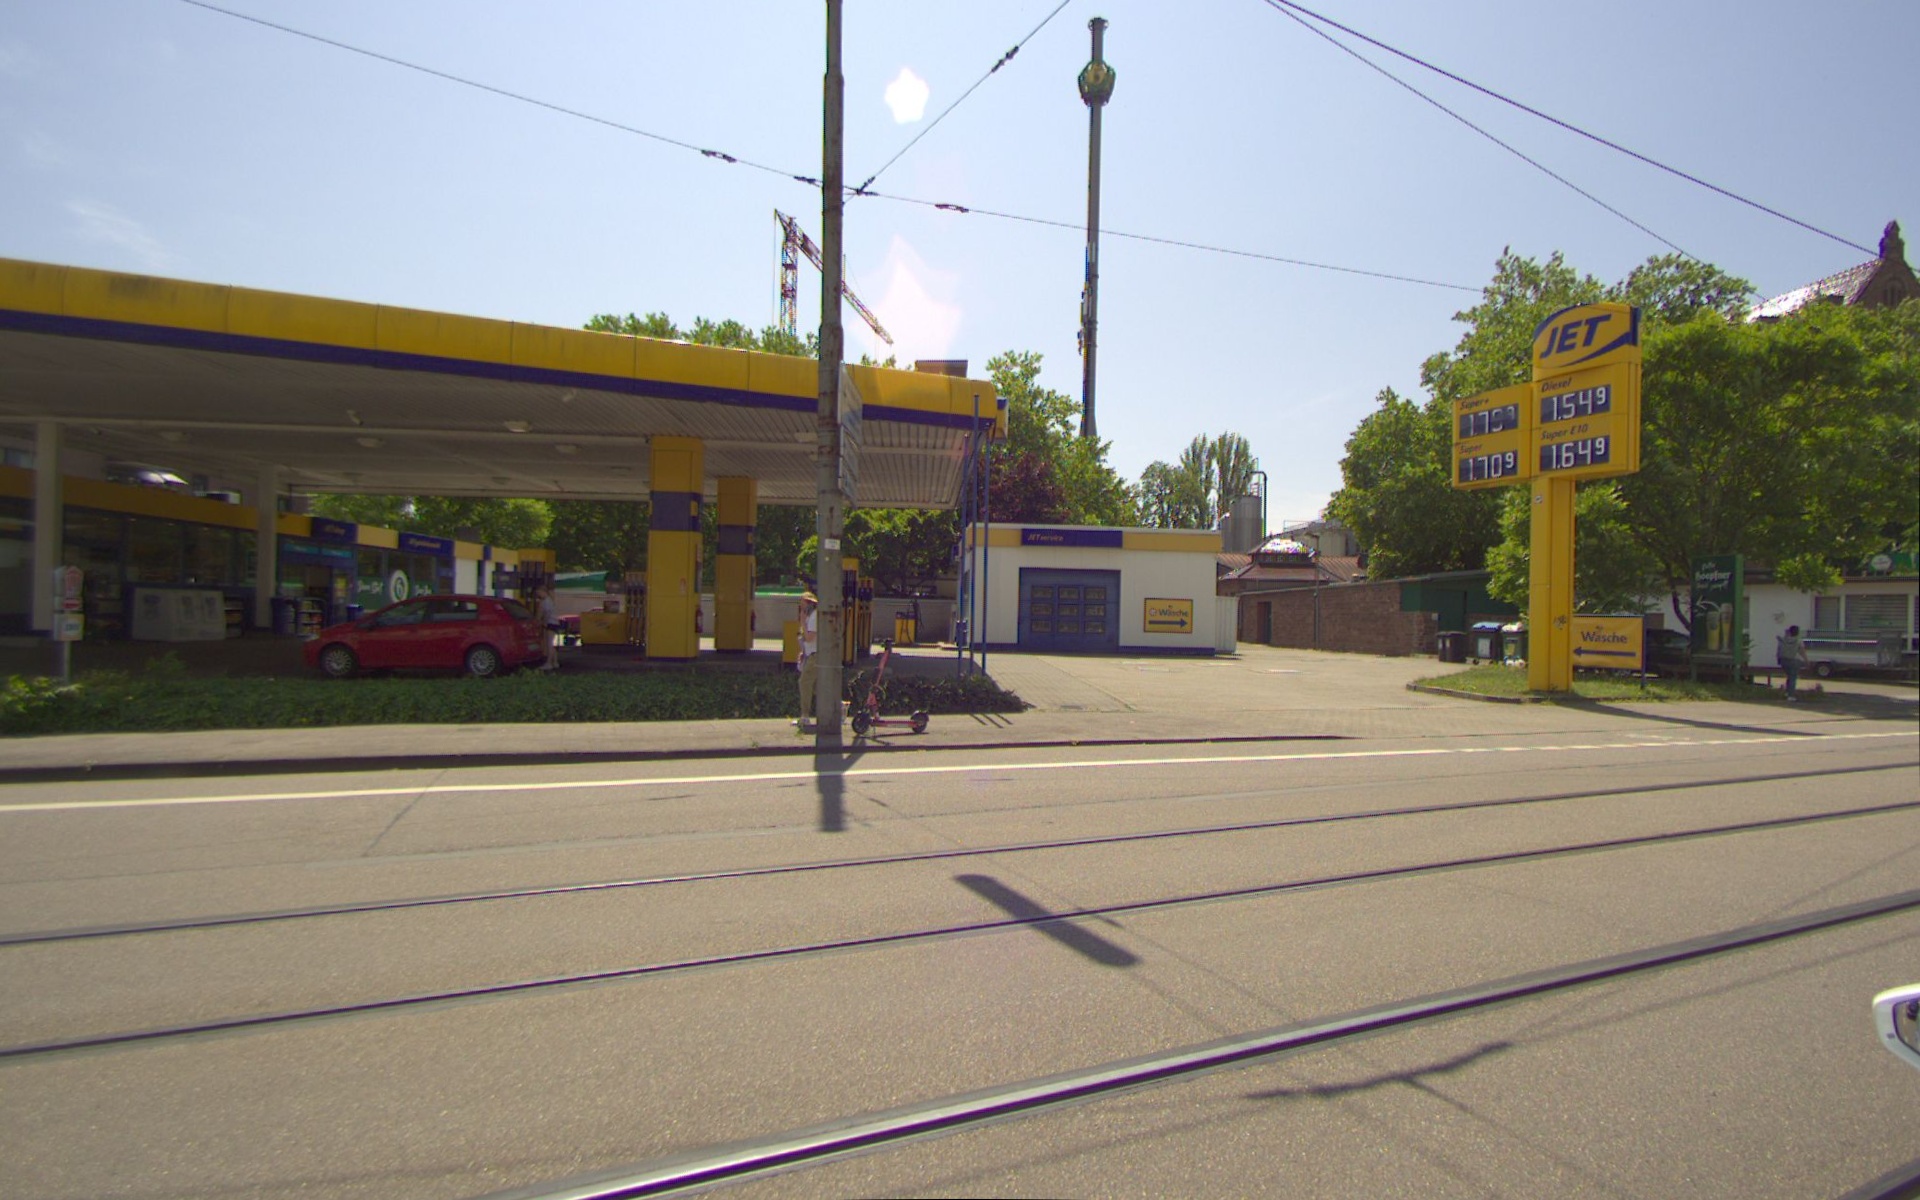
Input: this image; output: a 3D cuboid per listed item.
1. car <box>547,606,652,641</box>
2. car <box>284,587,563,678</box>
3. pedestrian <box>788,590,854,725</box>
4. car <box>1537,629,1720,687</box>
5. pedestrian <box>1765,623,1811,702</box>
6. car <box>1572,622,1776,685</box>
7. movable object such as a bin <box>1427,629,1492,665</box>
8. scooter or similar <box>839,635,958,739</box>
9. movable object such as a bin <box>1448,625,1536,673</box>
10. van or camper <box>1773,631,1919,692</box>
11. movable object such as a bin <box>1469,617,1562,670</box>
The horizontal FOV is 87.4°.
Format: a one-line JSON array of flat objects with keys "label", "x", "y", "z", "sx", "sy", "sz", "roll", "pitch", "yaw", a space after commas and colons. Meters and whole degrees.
[{"label": "car", "x": -16.501, "y": 1.056, "z": 46.109, "sx": 4.157, "sy": 1.428, "sz": 1.720, "roll": 2, "pitch": -1, "yaw": 0}, {"label": "car", "x": -9.743, "y": 0.567, "z": 18.500, "sx": 4.118, "sy": 1.525, "sz": 1.830, "roll": 1, "pitch": 1, "yaw": -4}, {"label": "pedestrian", "x": -1.833, "y": 0.743, "z": 13.205, "sx": 0.711, "sy": 1.713, "sz": 0.624, "roll": 2, "pitch": -1, "yaw": -20}, {"label": "car", "x": 21.080, "y": 1.798, "z": 31.864, "sx": 4.361, "sy": 1.508, "sz": 1.936, "roll": 2, "pitch": 0, "yaw": 13}, {"label": "pedestrian", "x": 19.457, "y": 1.453, "z": 23.609, "sx": 0.691, "sy": 1.799, "sz": 0.577, "roll": 2, "pitch": 1, "yaw": -30}, {"label": "car", "x": 20.626, "y": 1.520, "z": 29.227, "sx": 4.361, "sy": 1.508, "sz": 1.936, "roll": 2, "pitch": 0, "yaw": 13}, {"label": "movable object such as a bin", "x": 17.707, "y": 1.671, "z": 35.665, "sx": 1.534, "sy": 1.153, "sz": 1.408, "roll": 2, "pitch": 0, "yaw": -2}, {"label": "scooter or similar", "x": -0.763, "y": 1.066, "z": 12.550, "sx": 1.360, "sy": 1.216, "sz": 0.516, "roll": 2, "pitch": 0, "yaw": -30}, {"label": "movable object such as a bin", "x": 17.787, "y": 1.626, "z": 33.646, "sx": 2.059, "sy": 1.451, "sz": 1.525, "roll": 2, "pitch": 0, "yaw": -2}, {"label": "van or camper", "x": 28.886, "y": 1.912, "z": 32.322, "sx": 1.847, "sy": 1.651, "sz": 3.771, "roll": 1, "pitch": 1, "yaw": -26}, {"label": "movable object such as a bin", "x": 17.681, "y": 1.361, "z": 32.042, "sx": 2.059, "sy": 1.529, "sz": 1.525, "roll": 2, "pitch": 0, "yaw": -2}]
